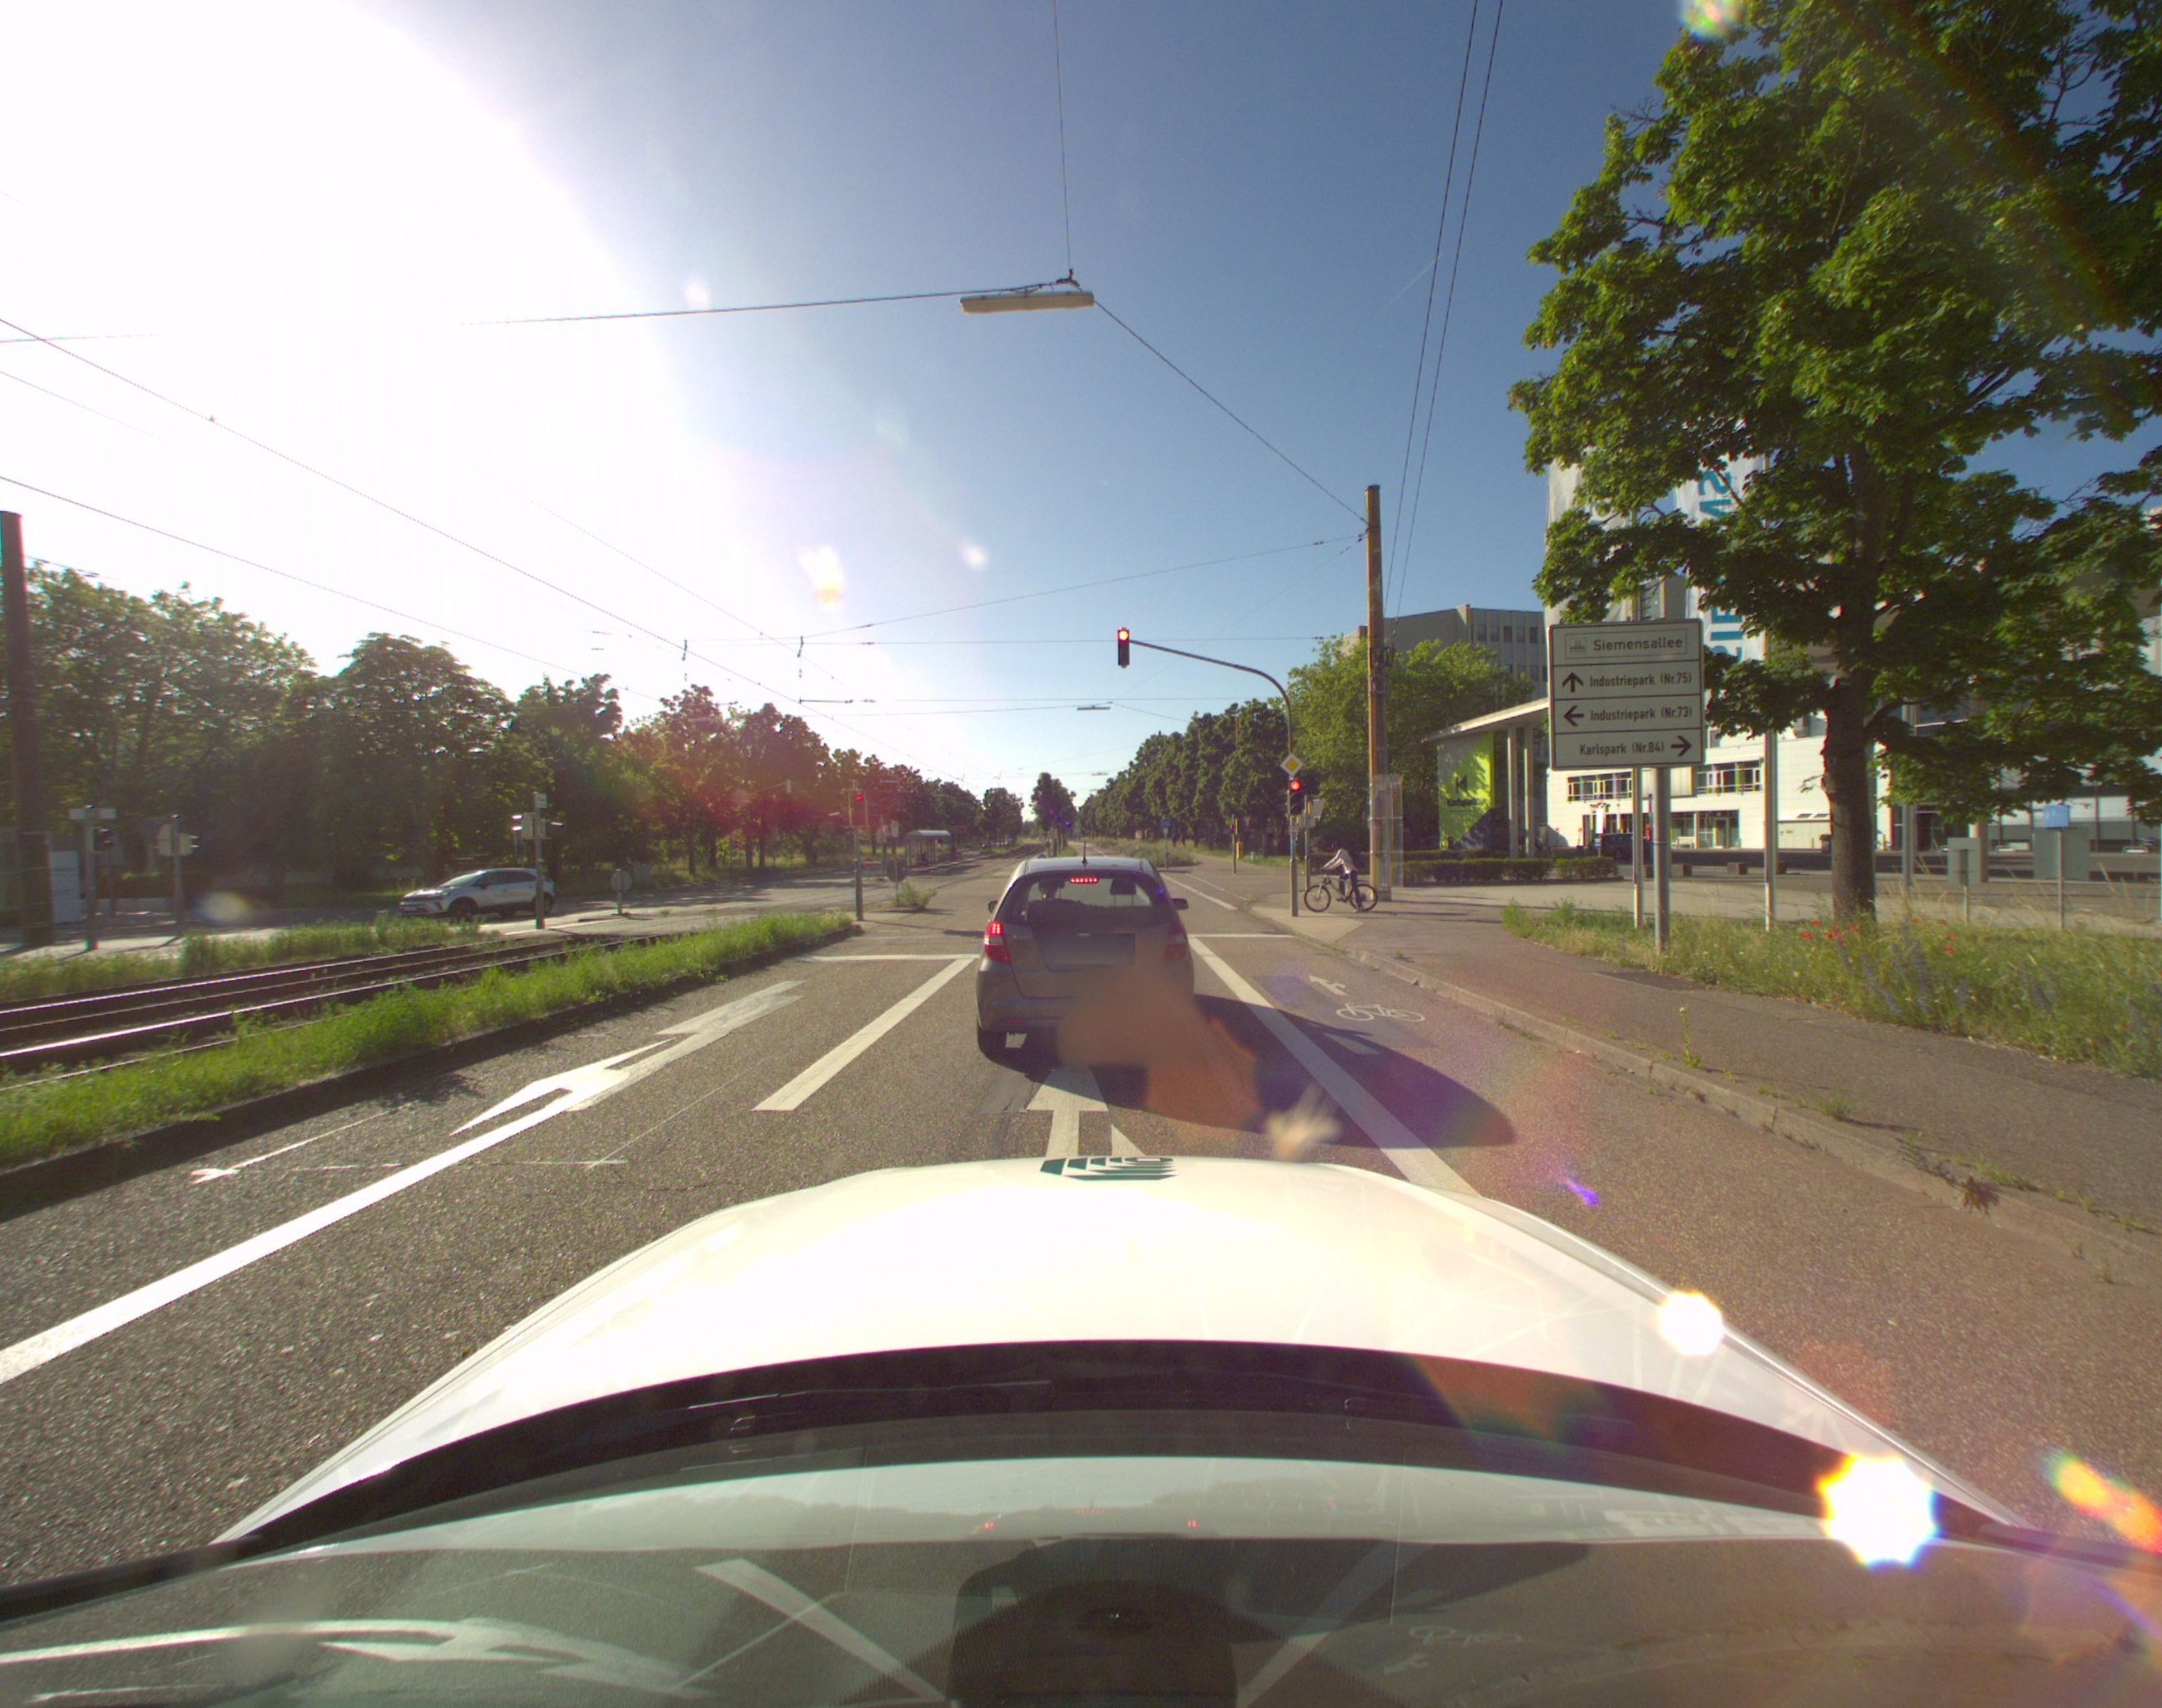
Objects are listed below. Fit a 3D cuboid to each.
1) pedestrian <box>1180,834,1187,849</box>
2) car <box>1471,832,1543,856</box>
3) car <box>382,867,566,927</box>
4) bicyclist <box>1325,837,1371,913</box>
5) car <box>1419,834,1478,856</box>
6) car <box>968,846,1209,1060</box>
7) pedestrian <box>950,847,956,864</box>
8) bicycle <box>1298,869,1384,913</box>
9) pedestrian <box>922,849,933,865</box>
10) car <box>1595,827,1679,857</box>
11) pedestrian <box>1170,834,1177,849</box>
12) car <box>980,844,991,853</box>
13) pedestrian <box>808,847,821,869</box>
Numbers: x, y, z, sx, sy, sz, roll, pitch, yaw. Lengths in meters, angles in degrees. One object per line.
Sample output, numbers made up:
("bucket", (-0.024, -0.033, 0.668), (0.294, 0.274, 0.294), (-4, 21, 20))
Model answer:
("pedestrian", (10.891, -1.313, 86.706), (0.676, 1.610, 0.720), (0, 0, -1))
("car", (31.210, -0.759, 59.702), (4.538, 1.629, 1.869), (-1, 0, -11))
("car", (-18.760, 1.259, 25.431), (1.835, 1.606, 4.276), (-1, 0, 20))
("bicyclist", (6.375, 0.489, 19.492), (0.904, 1.745, 0.767), (-3, -1, 12))
("car", (30.138, -0.726, 66.756), (3.989, 1.757, 1.993), (-1, 0, -11))
("car", (0.139, 0.702, 7.781), (1.700, 1.509, 4.002), (-1, 0, 2))
("pedestrian", (-12.683, 0.133, 80.694), (0.502, 1.675, 0.386), (-1, 0, -10))
("bicycle", (6.203, 0.866, 19.520), (1.907, 0.998, 0.767), (0, 0, 12))
("pedestrian", (-12.463, 0.234, 66.108), (0.718, 1.246, 0.710), (-2, 0, 0))
("car", (33.734, -0.717, 49.445), (3.984, 1.720, 1.895), (-1, 0, -8))
("pedestrian", (9.854, -1.338, 86.703), (0.565, 1.596, 0.665), (0, 0, -2))
("car", (-19.107, -1.143, 163.647), (1.761, 1.738, 3.999), (-1, 0, 0))
("pedestrian", (-24.252, 0.347, 74.094), (0.837, 2.013, 0.863), (-1, 0, 0))
